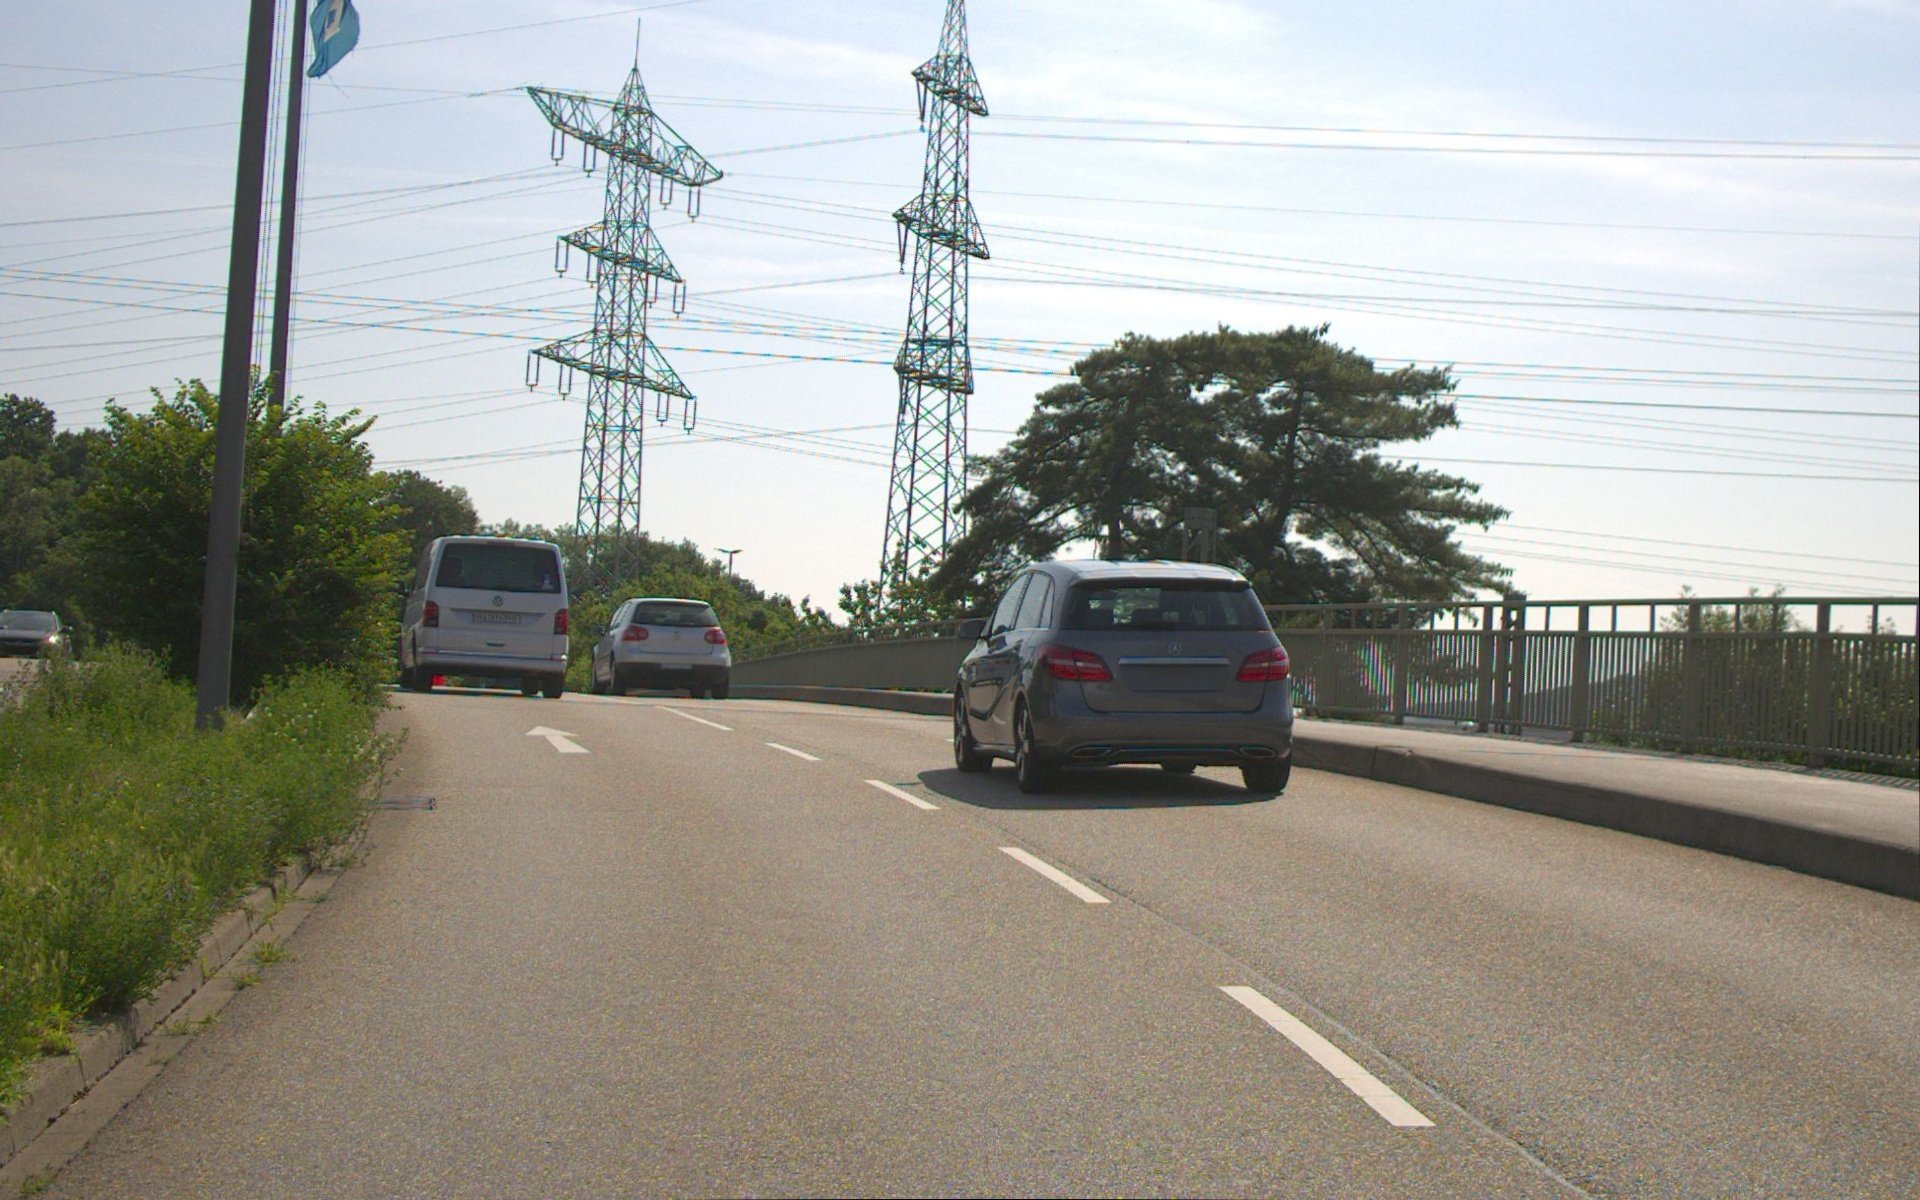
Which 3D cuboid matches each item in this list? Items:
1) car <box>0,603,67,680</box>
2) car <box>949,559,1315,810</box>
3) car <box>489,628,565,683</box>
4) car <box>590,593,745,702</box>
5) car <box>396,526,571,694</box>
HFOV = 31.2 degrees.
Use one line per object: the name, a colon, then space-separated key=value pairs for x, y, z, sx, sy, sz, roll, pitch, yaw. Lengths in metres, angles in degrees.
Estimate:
car: x=-22.126 y=0.948 z=81.045 sx=1.881 sy=1.630 sz=4.226 roll=1 pitch=1 yaw=-12
car: x=1.086 y=0.543 z=23.786 sx=1.856 sy=1.524 sz=4.144 roll=2 pitch=0 yaw=-6
car: x=-11.040 y=1.429 z=87.475 sx=1.773 sy=1.327 sz=3.741 roll=-1 pitch=-1 yaw=-9
car: x=-4.464 y=0.693 z=51.942 sx=1.856 sy=1.524 sz=4.145 roll=2 pitch=-1 yaw=-11
car: x=-6.093 y=0.109 z=43.626 sx=2.038 sy=2.007 sz=4.001 roll=1 pitch=0 yaw=-10
